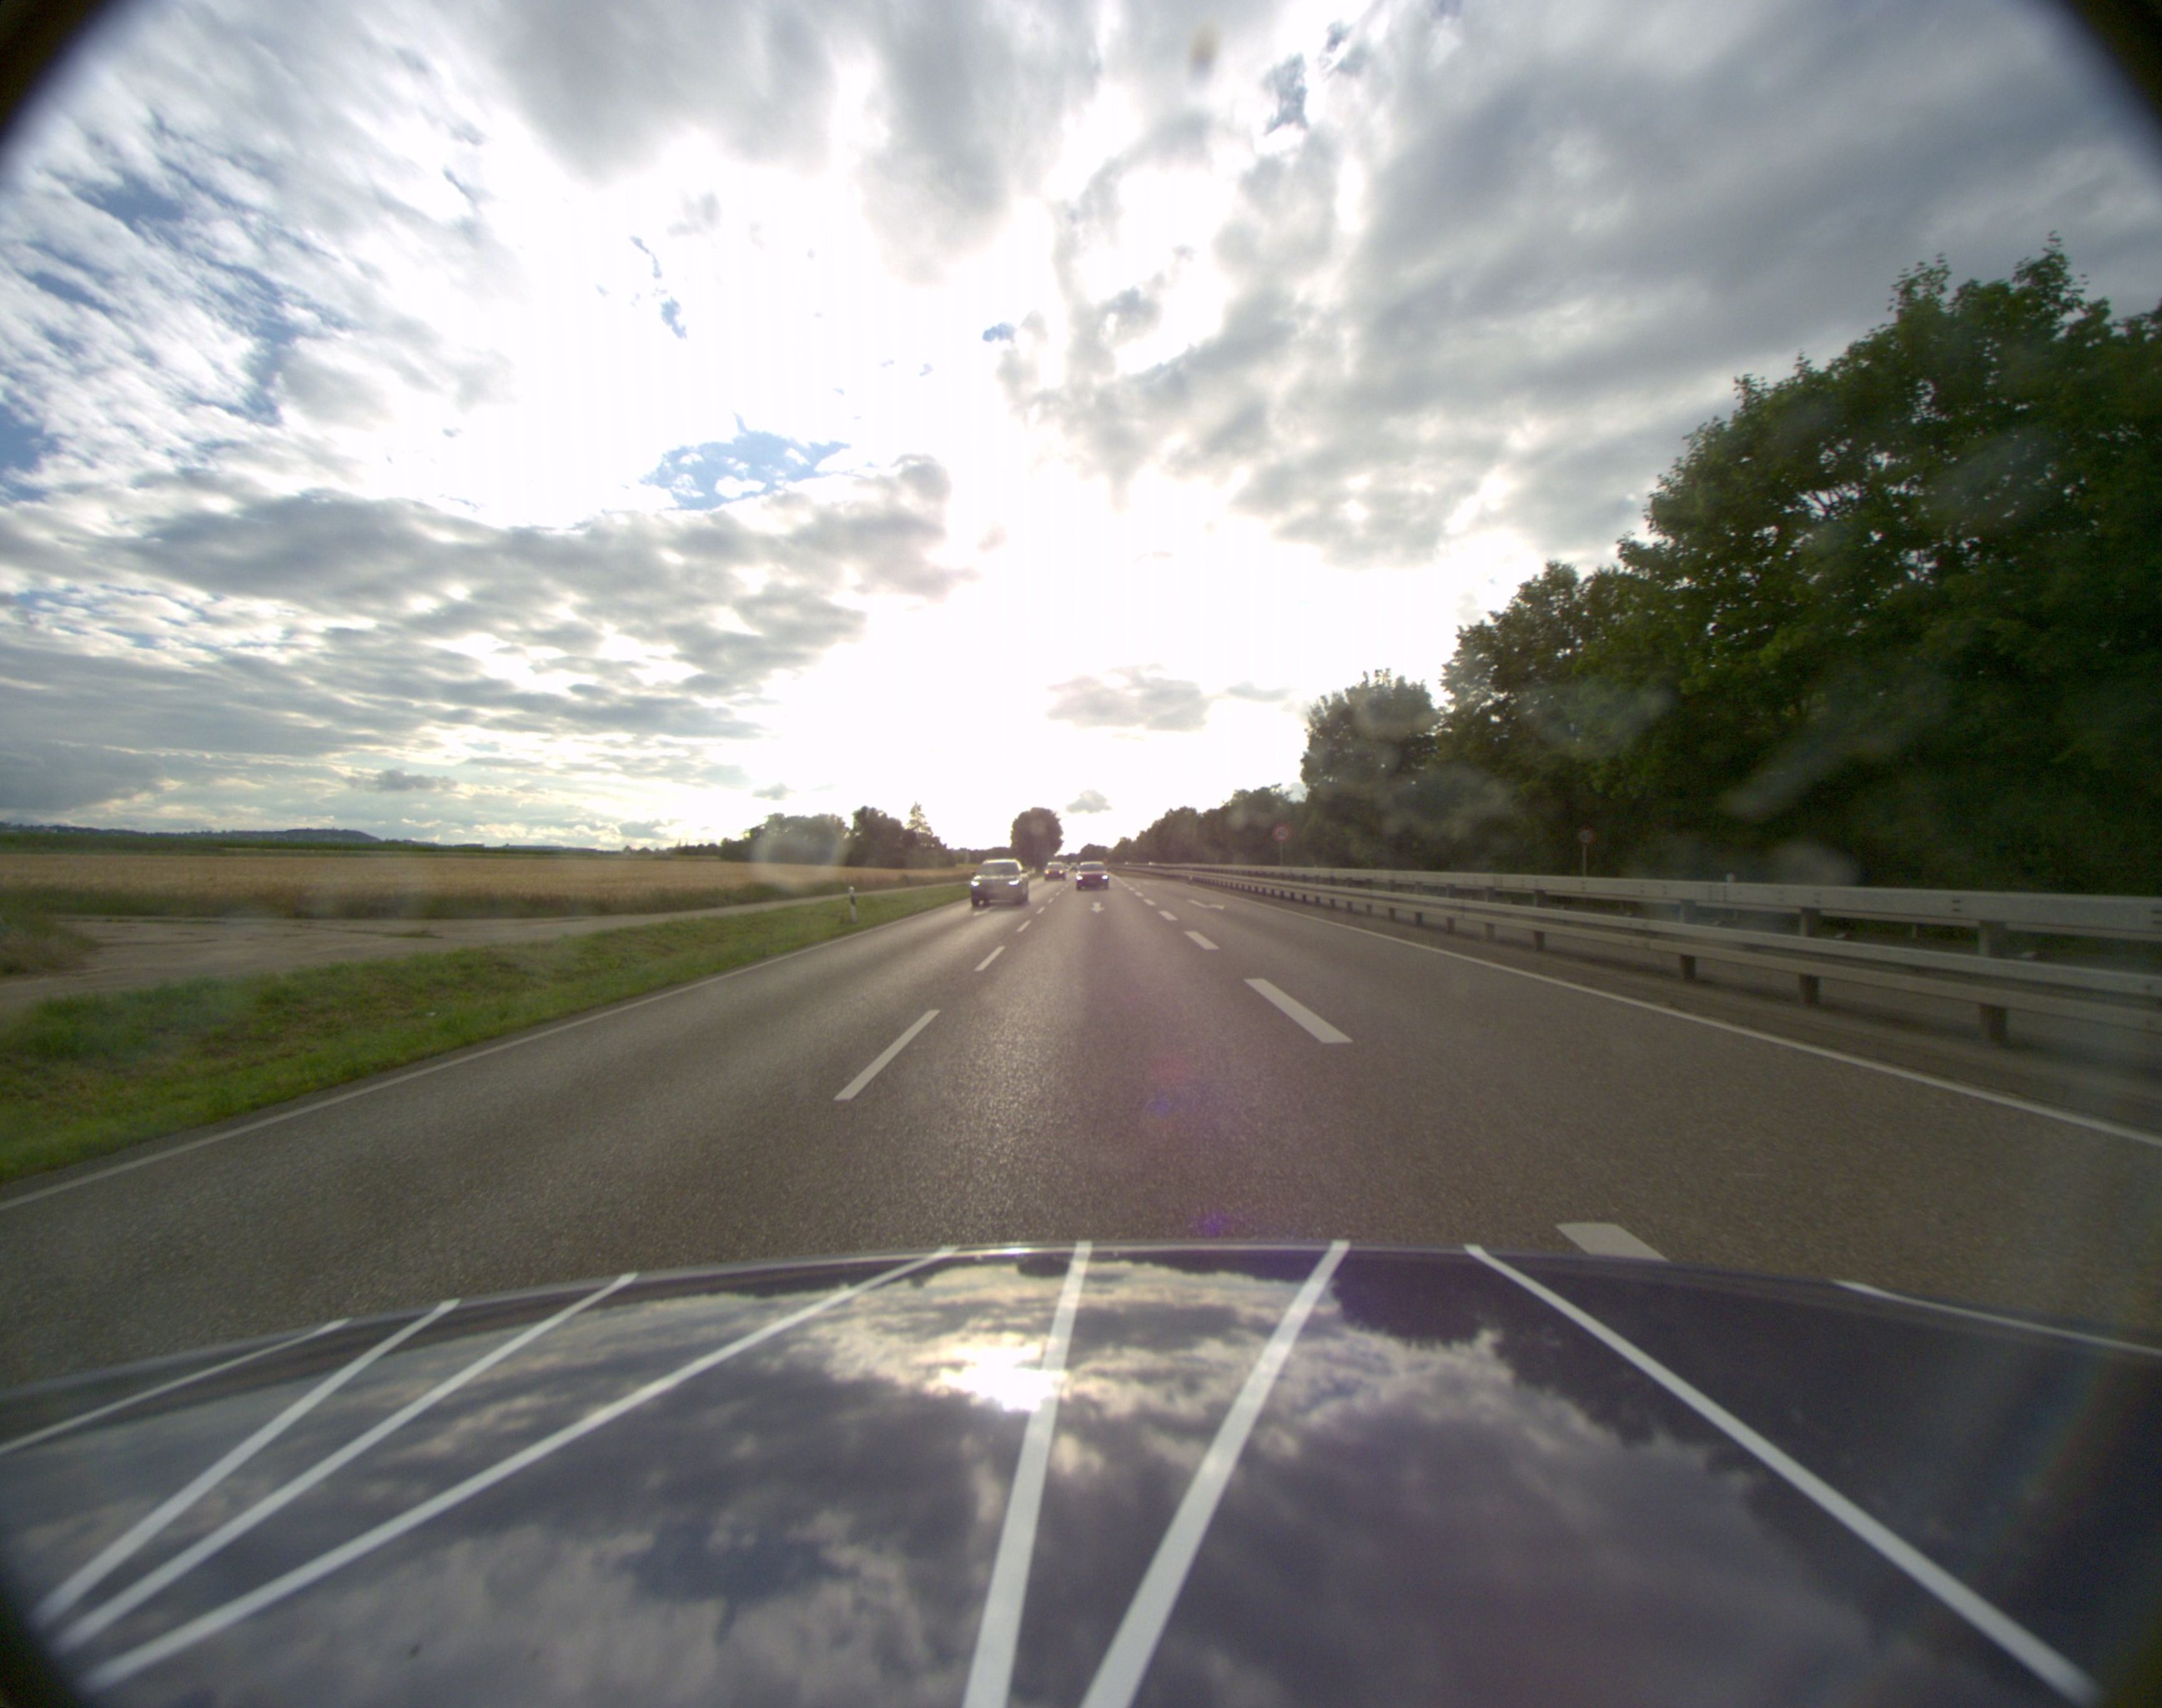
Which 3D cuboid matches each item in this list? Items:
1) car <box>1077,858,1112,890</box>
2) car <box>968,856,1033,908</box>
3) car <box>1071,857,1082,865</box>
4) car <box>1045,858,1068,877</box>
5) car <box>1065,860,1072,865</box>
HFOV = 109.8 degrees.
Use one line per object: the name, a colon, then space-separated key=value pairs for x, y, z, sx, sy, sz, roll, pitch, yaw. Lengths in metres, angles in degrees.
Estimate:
car: x=0.712 y=1.008 z=39.816 sx=1.712 sy=1.448 sz=4.061 roll=-2 pitch=1 yaw=1
car: x=-2.977 y=0.989 z=29.088 sx=1.841 sy=1.698 sz=4.556 roll=-2 pitch=1 yaw=1
car: x=-0.832 y=1.345 z=144.234 sx=1.799 sy=1.448 sz=4.032 roll=-2 pitch=0 yaw=1
car: x=-2.003 y=1.090 z=63.896 sx=1.712 sy=1.448 sz=3.908 roll=-2 pitch=1 yaw=1
car: x=-3.795 y=2.522 z=229.710 sx=1.713 sy=1.448 sz=4.058 roll=-2 pitch=1 yaw=-10
